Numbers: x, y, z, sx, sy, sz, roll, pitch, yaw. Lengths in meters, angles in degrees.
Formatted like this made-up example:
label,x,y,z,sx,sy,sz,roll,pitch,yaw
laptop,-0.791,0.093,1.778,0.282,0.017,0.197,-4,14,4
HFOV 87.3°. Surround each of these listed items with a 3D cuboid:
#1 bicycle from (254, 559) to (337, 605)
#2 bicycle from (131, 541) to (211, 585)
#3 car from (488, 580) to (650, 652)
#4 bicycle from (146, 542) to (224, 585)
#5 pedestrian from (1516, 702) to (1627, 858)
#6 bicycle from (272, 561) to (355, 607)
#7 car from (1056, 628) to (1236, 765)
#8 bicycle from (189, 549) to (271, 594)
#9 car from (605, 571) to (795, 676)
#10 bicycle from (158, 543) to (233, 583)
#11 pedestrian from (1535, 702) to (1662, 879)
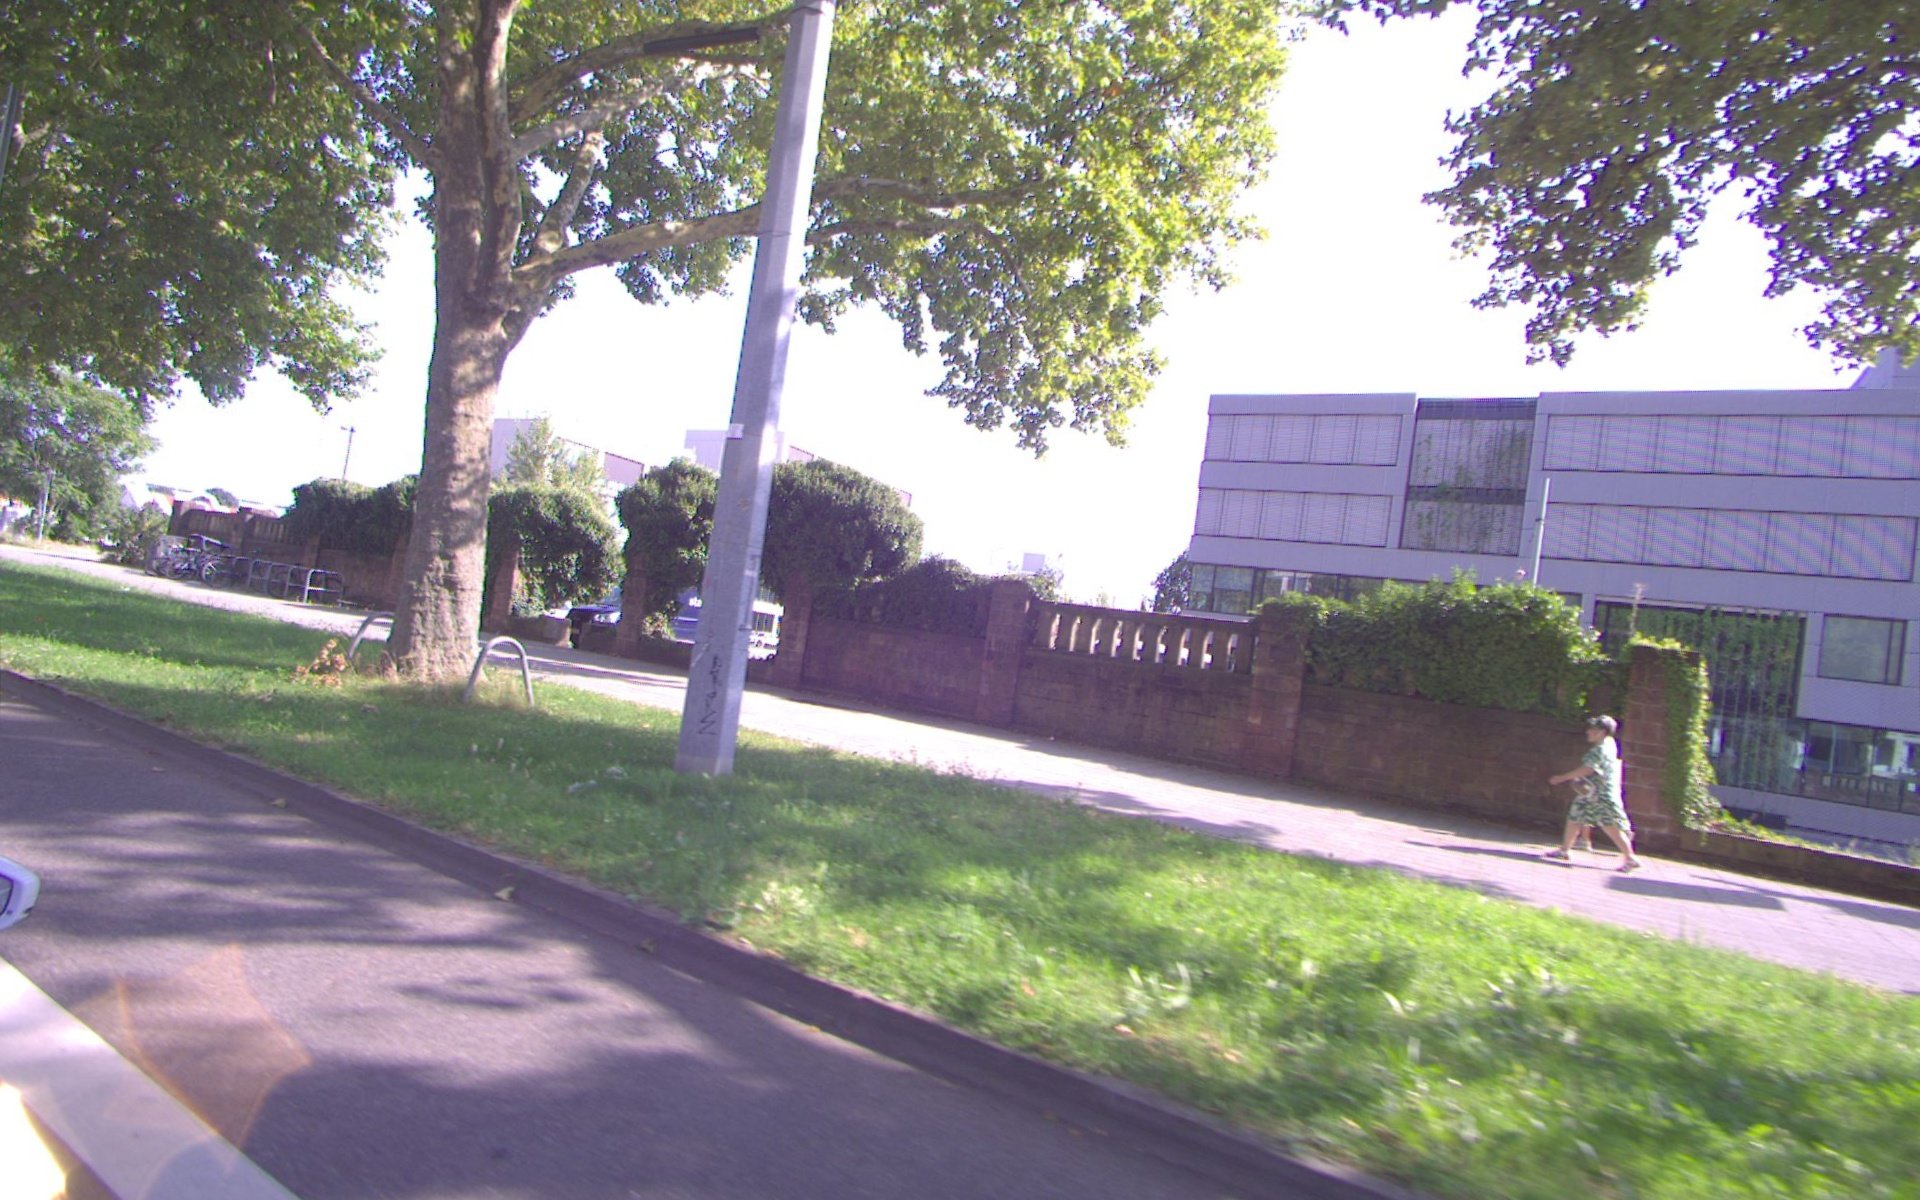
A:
label,x,y,z,sx,sy,sz,roll,pitch,yaw
bicycle,-17.326,-0.469,26.254,0.498,0.981,1.657,7,-1,36
bicycle,-22.193,-1.039,28.308,1.634,0.981,0.505,8,-1,-11
car,-12.792,0.565,33.168,1.946,1.693,4.528,7,-3,34
bicycle,-22.338,-1.039,29.005,1.634,0.981,0.505,8,-1,-11
pedestrian,7.198,2.086,11.871,0.931,1.623,0.807,7,-1,32
bicycle,-16.587,-0.396,25.854,0.498,0.981,1.659,7,-1,32
car,4.067,2.125,21.222,2.021,2.342,4.678,6,-5,31
bicycle,-19.805,-0.767,27.333,0.498,0.981,1.657,7,-1,36
car,-7.602,0.775,29.950,2.096,2.394,5.140,7,-3,34
bicycle,-23.036,-1.105,30.354,0.498,0.981,1.658,7,-1,34
pedestrian,6.695,1.958,10.596,0.931,1.623,0.807,7,-1,32
